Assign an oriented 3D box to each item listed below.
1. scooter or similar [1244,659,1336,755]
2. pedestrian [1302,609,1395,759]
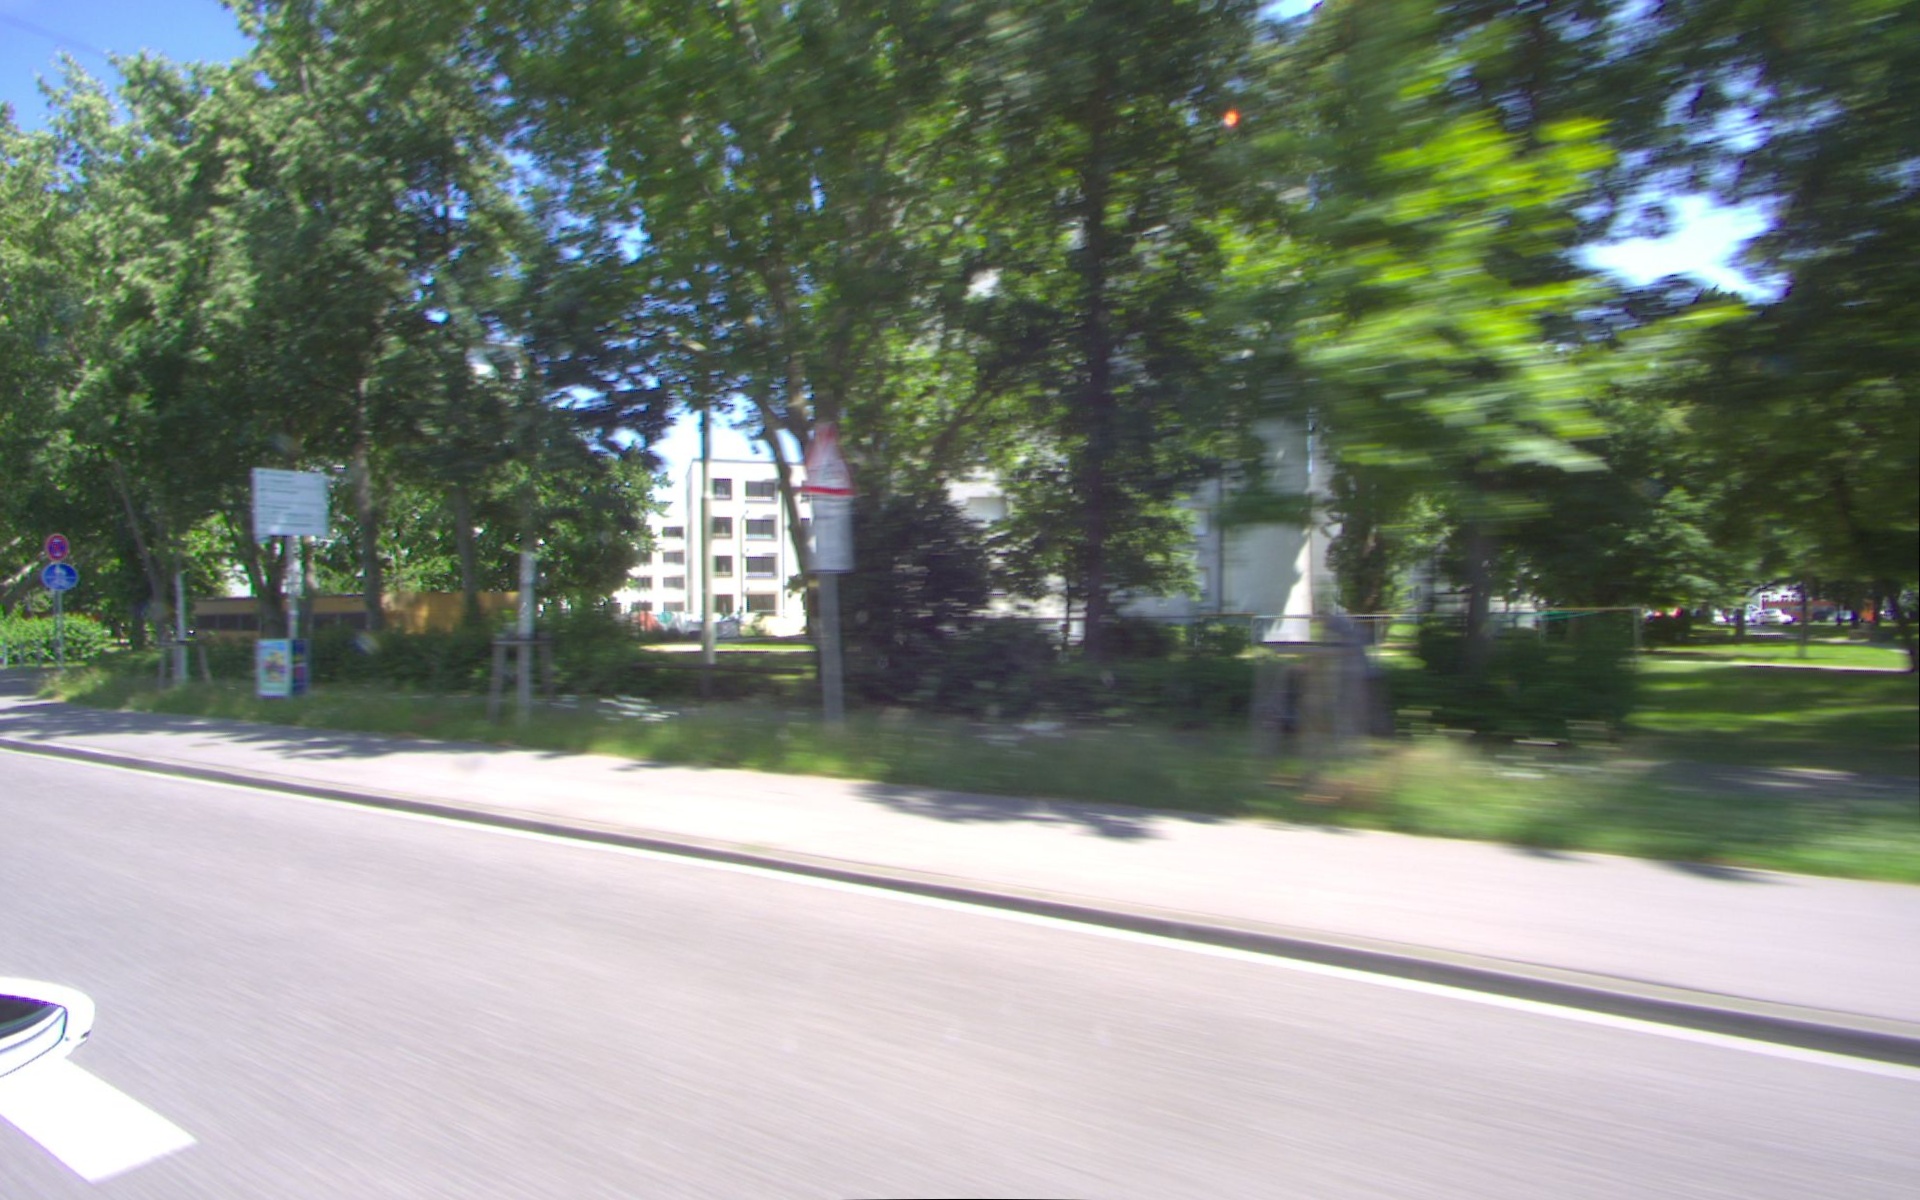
[{"bbox_3d":[3.394,1.076,10.292,0.752,0.904,0.707,0,-2,32],"label":"scooter or similar"},{"bbox_3d":[3.881,0.814,9.985,0.752,1.416,0.707,0,-1,32],"label":"pedestrian"}]
